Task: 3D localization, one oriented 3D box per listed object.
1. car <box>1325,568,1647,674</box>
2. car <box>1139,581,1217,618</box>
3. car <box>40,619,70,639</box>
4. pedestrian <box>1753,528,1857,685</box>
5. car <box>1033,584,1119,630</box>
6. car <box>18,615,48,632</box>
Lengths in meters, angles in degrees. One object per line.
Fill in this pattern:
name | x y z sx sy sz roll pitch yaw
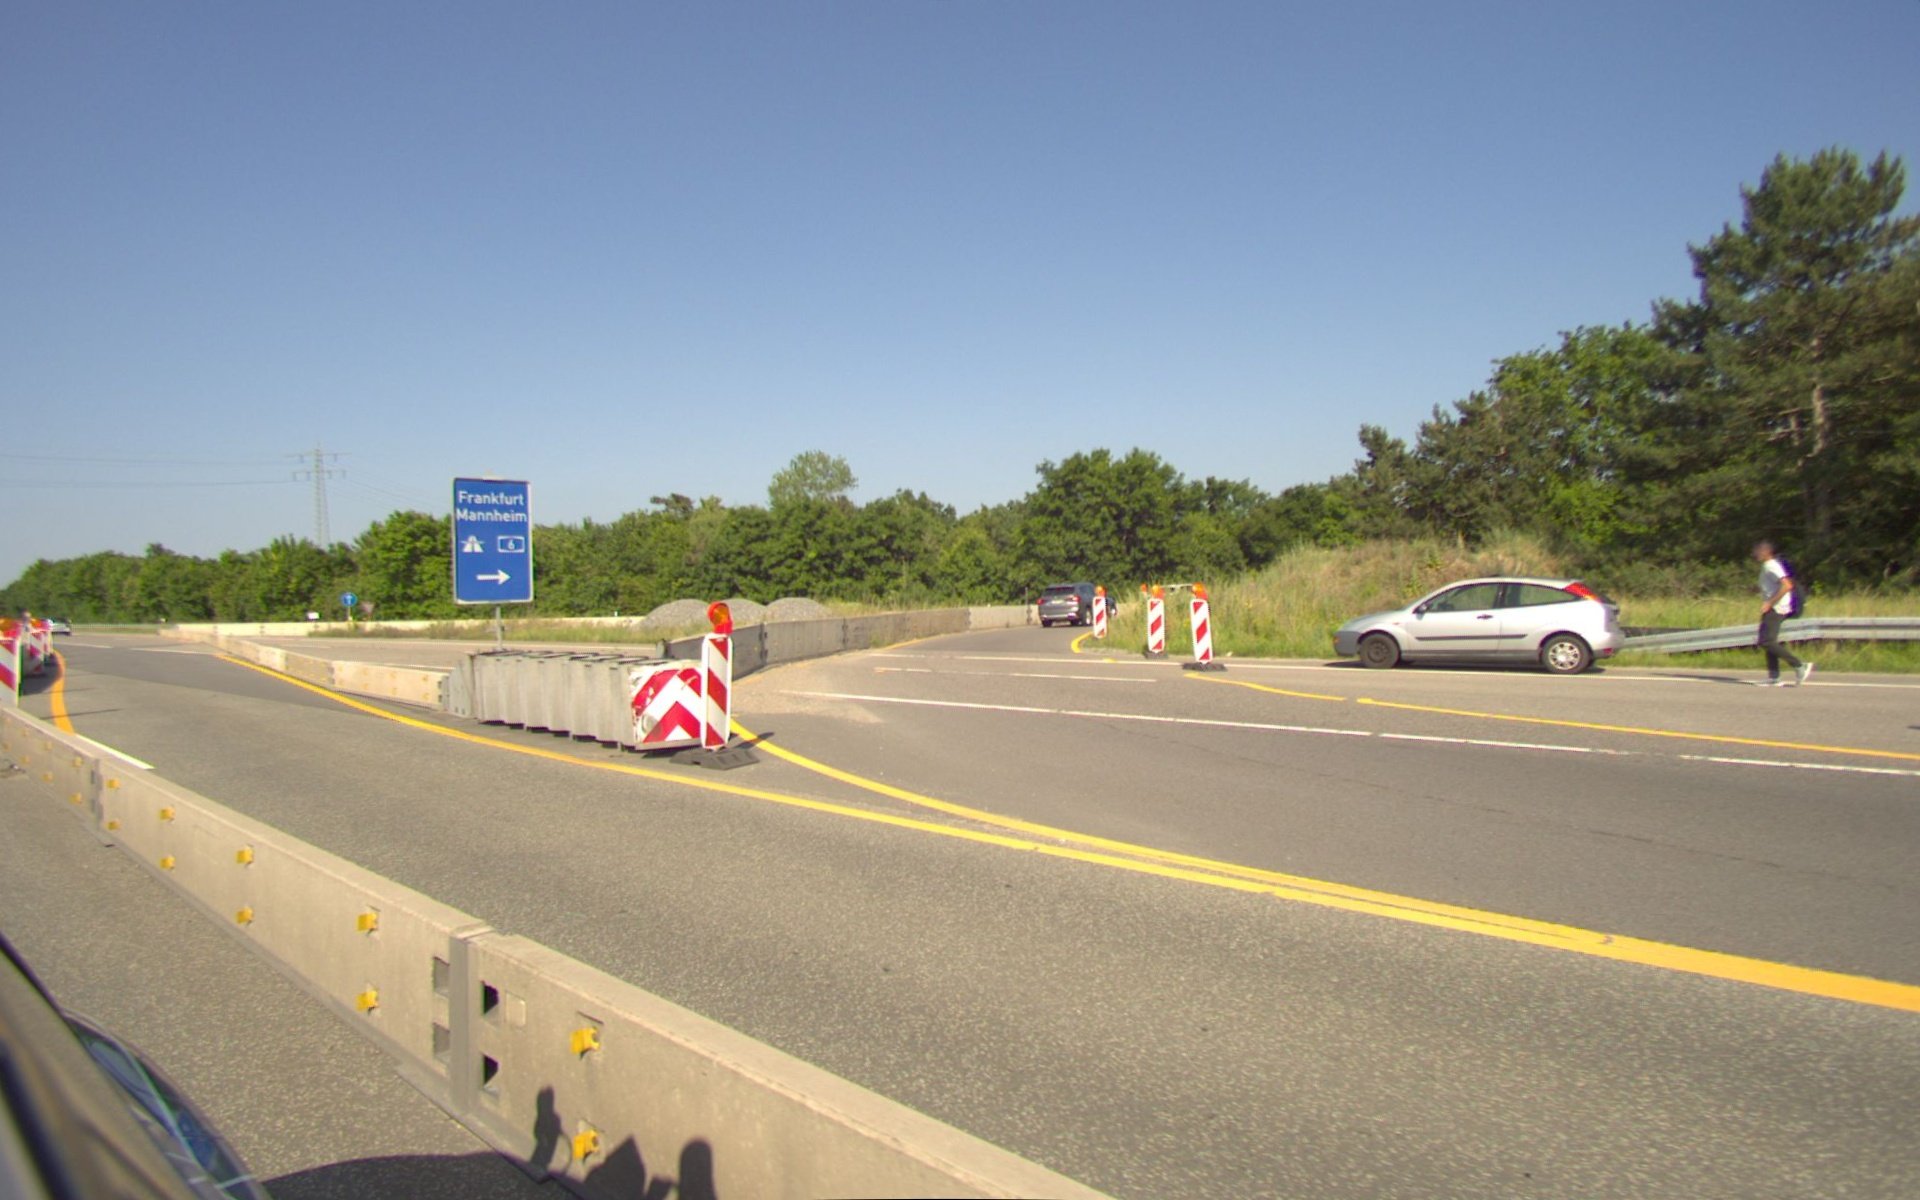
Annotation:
car | 8.282 0.313 16.113 4.289 1.471 1.845 -1 1 37
car | 10.106 -0.047 46.728 1.958 1.566 3.948 -2 0 39
car | -74.182 2.337 82.958 1.691 1.527 4.182 -2 0 -44
pedestrian | 10.224 0.084 12.280 0.794 1.834 0.736 -2 -1 30
car | 4.592 0.235 39.538 1.988 1.634 4.809 -2 0 24
car | -89.890 2.308 98.100 1.970 1.527 4.584 -2 0 -44
